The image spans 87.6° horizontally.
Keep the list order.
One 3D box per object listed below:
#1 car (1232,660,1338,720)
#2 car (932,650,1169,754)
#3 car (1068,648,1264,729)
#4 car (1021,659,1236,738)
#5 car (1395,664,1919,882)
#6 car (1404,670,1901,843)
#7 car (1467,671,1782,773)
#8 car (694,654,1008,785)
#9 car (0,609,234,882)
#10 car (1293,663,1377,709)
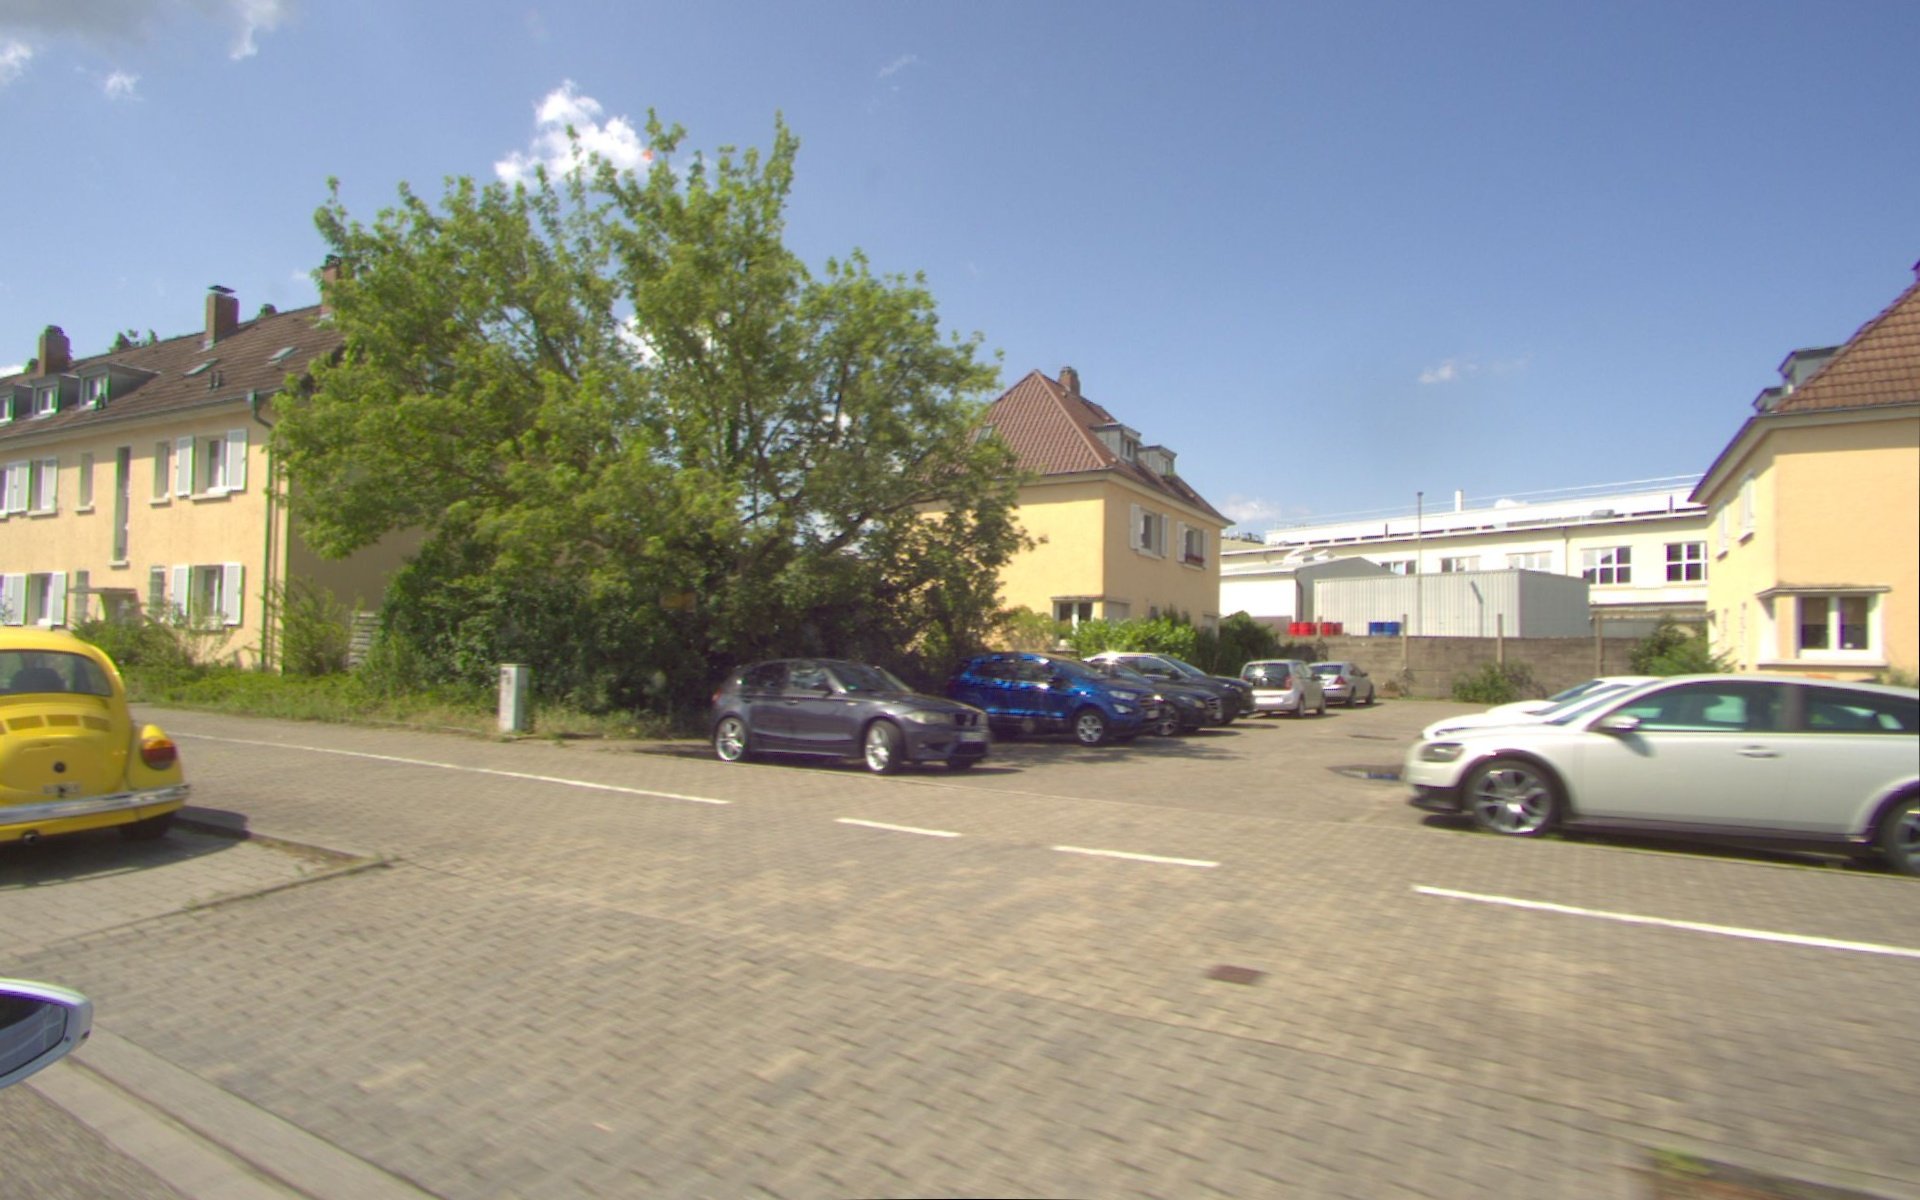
[{"bbox_3d":[8.648,2.344,26.438,1.619,1.453,4.067,-3,-5,34],"label":"car"},{"bbox_3d":[1.609,1.778,18.337,4.030,1.567,1.632,0,0,33],"label":"car"},{"bbox_3d":[4.642,1.994,22.777,4.031,1.685,1.634,-3,-5,33],"label":"car"},{"bbox_3d":[3.407,1.953,20.451,4.030,1.418,1.634,-1,-4,33],"label":"car"},{"bbox_3d":[5.798,1.264,8.128,4.026,1.391,1.635,0,-3,30],"label":"car"},{"bbox_3d":[6.943,1.500,10.548,4.026,1.391,1.635,0,-3,30],"label":"car"},{"bbox_3d":[10.680,1.939,16.443,4.016,1.390,1.640,0,-4,21],"label":"car"},{"bbox_3d":[-1.496,1.430,12.985,4.036,1.372,1.631,-1,-3,37],"label":"car"},{"bbox_3d":[-6.886,0.829,6.921,3.873,1.502,1.634,0,0,31],"label":"car"},{"bbox_3d":[12.053,2.717,32.057,1.619,1.381,4.067,-3,-5,34],"label":"car"}]
